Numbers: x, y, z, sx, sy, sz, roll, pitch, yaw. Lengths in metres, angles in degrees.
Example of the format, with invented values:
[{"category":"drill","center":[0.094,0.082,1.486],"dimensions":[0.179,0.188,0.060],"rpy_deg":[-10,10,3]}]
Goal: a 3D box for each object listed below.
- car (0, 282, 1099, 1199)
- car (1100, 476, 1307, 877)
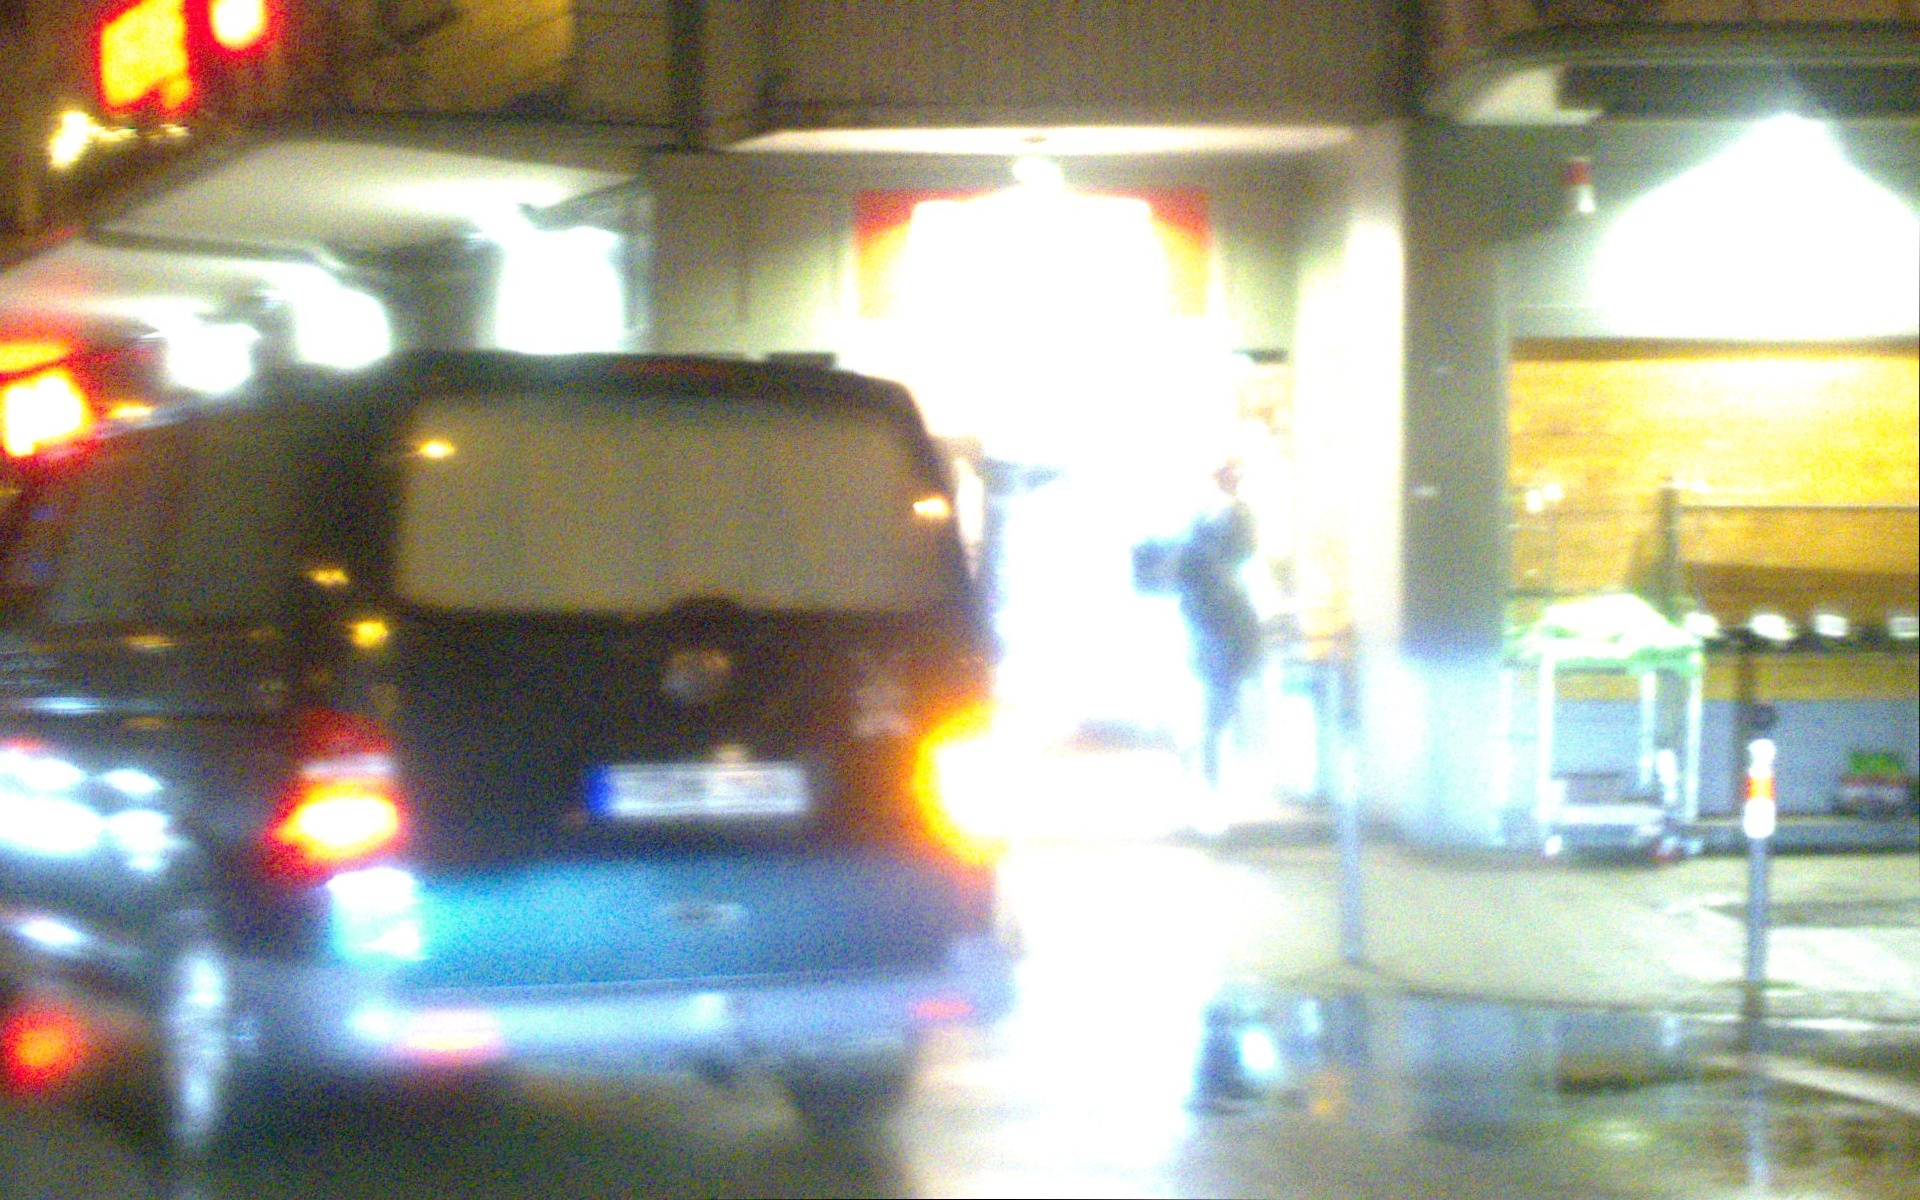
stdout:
[{"category":"car","center":[-1.600,0.330,9.597],"dimensions":[2.122,1.984,4.602],"rpy_deg":[0,0,-24]},{"category":"car","center":[1.138,0.343,16.268],"dimensions":[0.874,1.835,0.964],"rpy_deg":[0,1,-2]}]
